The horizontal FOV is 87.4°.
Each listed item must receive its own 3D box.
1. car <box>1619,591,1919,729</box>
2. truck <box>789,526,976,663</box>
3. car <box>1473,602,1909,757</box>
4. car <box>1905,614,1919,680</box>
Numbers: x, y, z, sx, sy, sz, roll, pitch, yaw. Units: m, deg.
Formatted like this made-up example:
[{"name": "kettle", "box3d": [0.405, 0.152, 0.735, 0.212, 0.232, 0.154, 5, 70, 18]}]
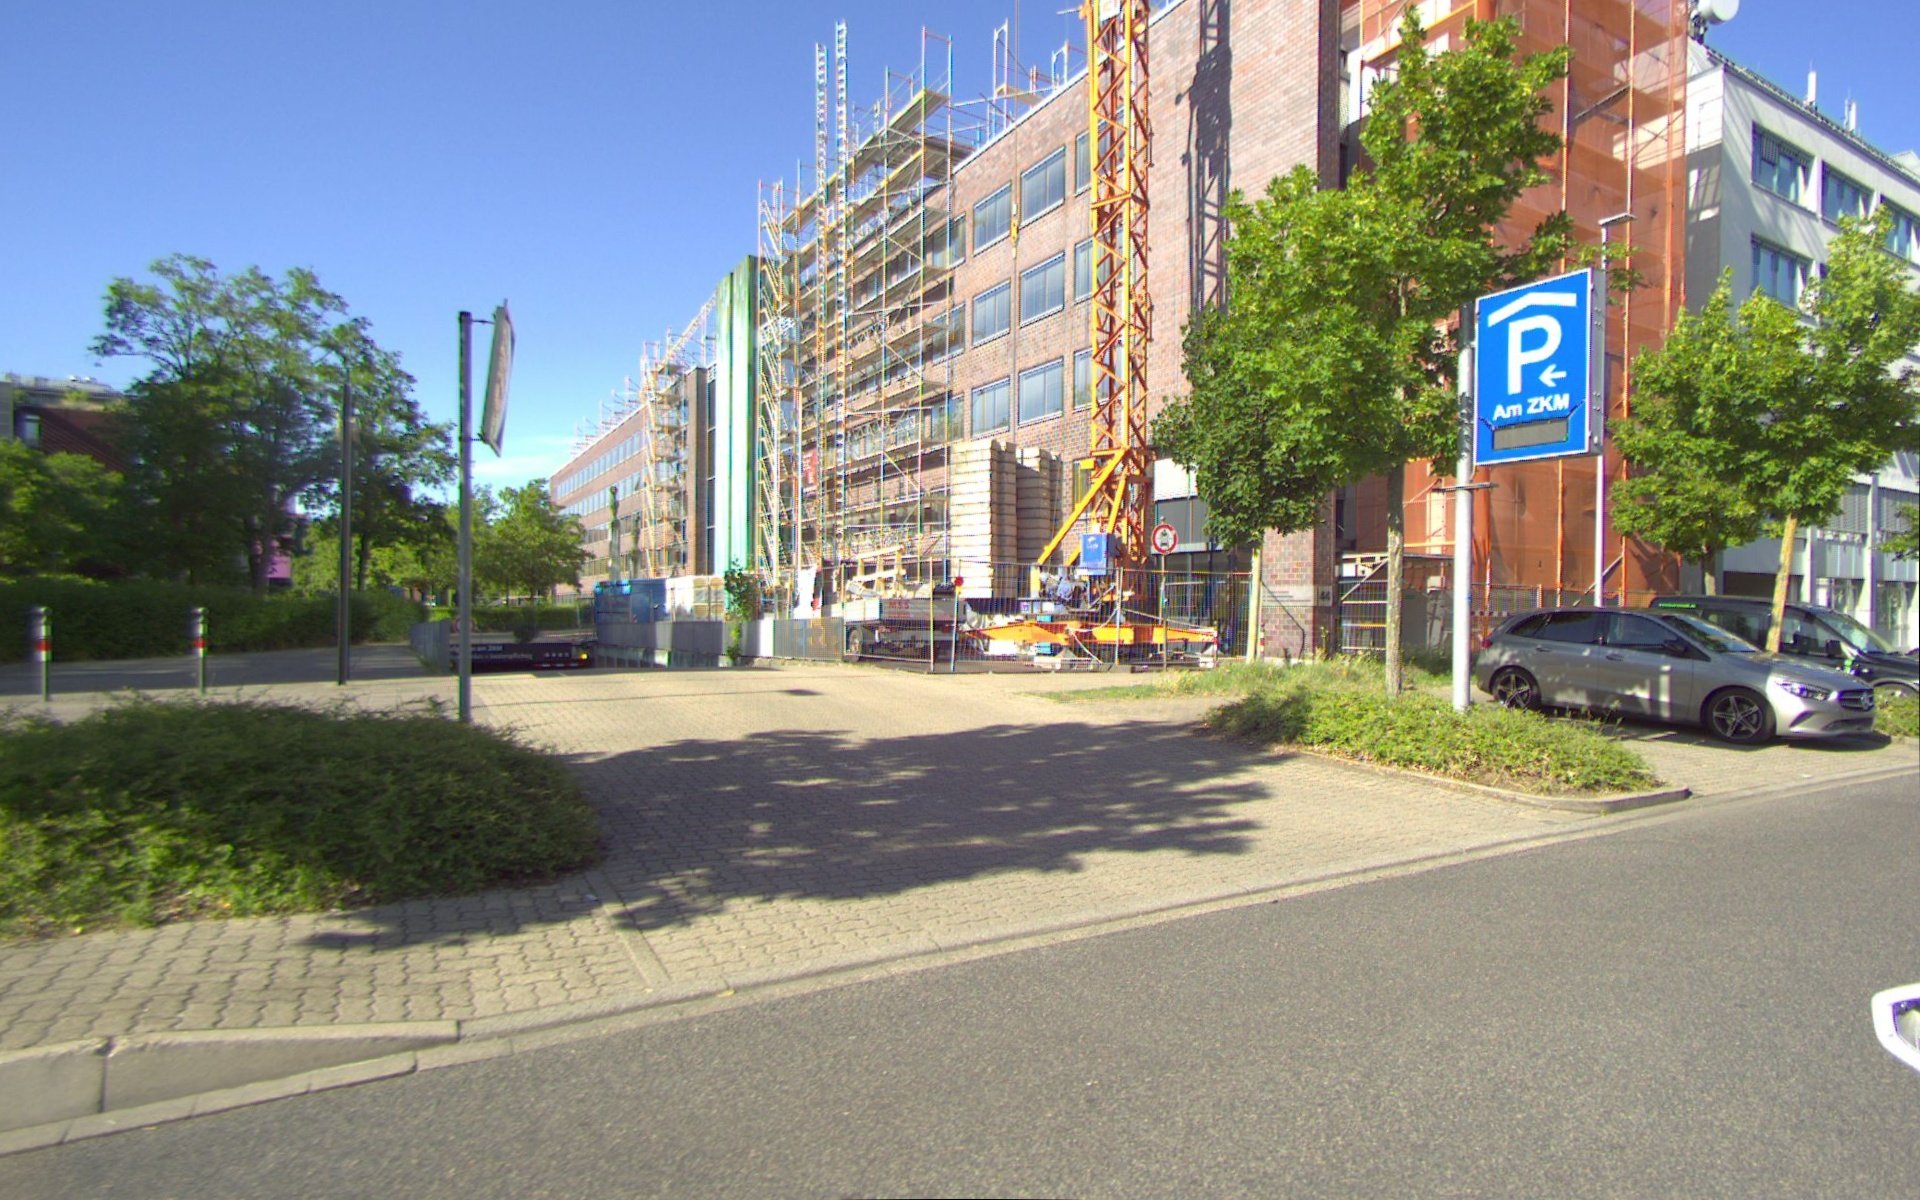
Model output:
[{"name": "car", "box3d": [13.159, 0.828, 15.726, 1.824, 1.769, 4.366, 1, 2, -28]}, {"name": "truck", "box3d": [-1.996, -0.063, 23.369, 2.240, 2.767, 5.819, 1, -1, -28]}, {"name": "car", "box3d": [9.425, 0.894, 13.391, 1.674, 1.534, 4.363, 1, 2, -30]}, {"name": "car", "box3d": [23.038, 1.130, 21.050, 1.957, 1.451, 4.358, 1, 2, -33]}]
